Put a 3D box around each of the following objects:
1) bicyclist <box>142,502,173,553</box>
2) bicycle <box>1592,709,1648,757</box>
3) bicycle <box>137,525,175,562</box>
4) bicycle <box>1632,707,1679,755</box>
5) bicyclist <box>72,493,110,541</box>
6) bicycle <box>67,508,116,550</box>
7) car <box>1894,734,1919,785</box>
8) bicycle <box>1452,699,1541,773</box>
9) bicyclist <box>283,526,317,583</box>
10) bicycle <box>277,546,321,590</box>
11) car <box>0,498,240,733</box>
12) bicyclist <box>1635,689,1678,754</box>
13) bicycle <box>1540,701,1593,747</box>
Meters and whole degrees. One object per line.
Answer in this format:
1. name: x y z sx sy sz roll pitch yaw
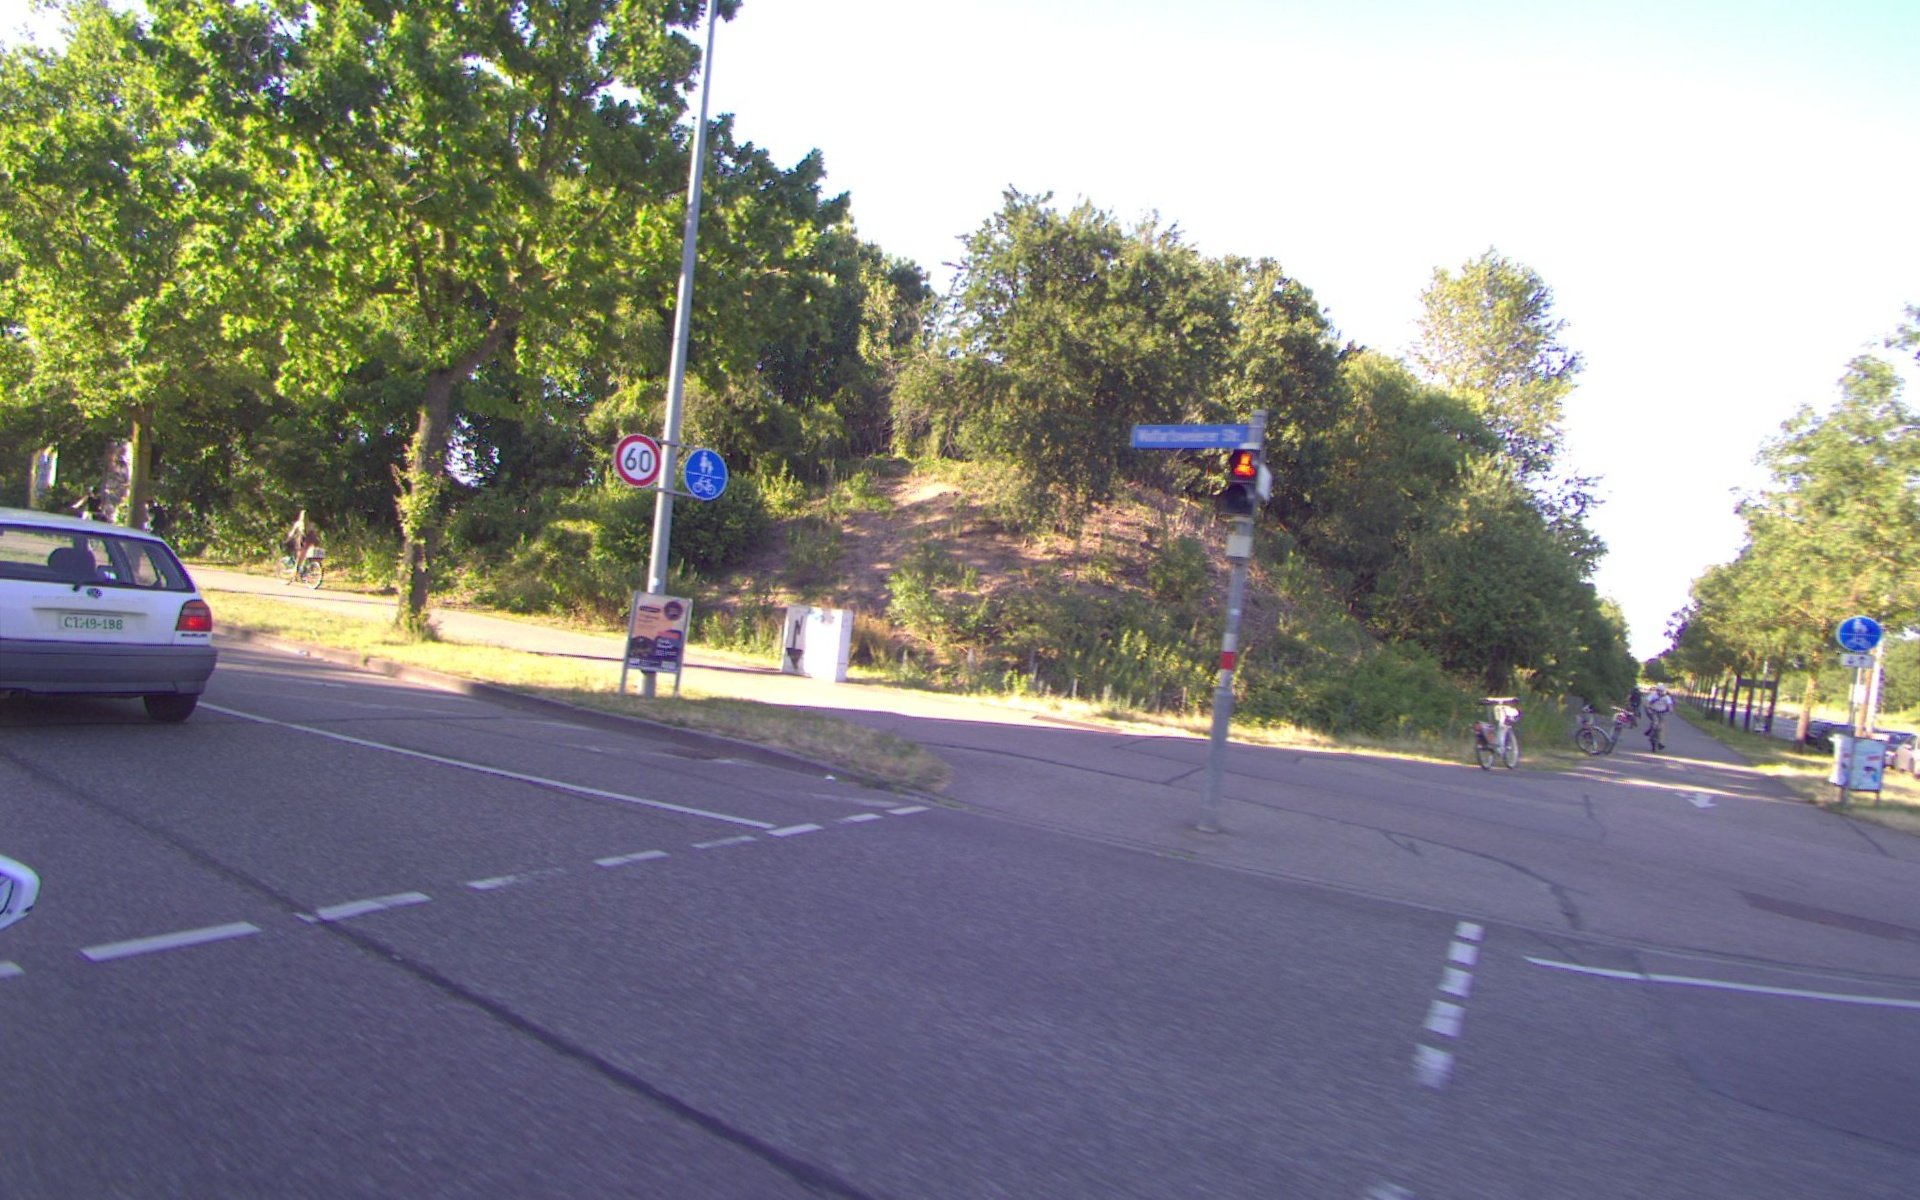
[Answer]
1. bicyclist: -22.039 -1.980 27.626 0.452 1.324 0.428 6 -1 32
2. bicycle: 15.352 3.106 23.387 1.788 0.992 0.631 9 -1 -45
3. bicycle: -22.064 -1.558 27.608 1.010 0.925 0.438 5 -1 32
4. bicycle: 18.746 3.515 27.153 0.808 1.125 2.017 6 -2 31
5. bicyclist: -26.286 -2.510 30.420 0.821 1.331 0.544 6 -1 31
6. bicycle: -26.199 -2.136 30.337 1.595 1.125 0.565 5 -1 32
7. car: 32.441 5.343 33.063 2.010 1.586 4.329 5 -3 37
8. bicycle: 8.351 2.104 15.635 1.656 1.004 0.571 6 3 -42
9. bicyclist: -15.282 -1.059 23.306 0.452 1.248 0.428 6 1 32
10. bicycle: -15.323 -0.750 23.311 1.010 0.926 0.437 5 2 32
11. car: -7.319 -0.018 7.515 3.994 1.430 1.582 5 -2 31
12. bicyclist: 18.784 3.272 27.150 0.780 1.613 0.858 6 -1 31
13. bicycle: 14.757 3.018 24.451 0.631 0.992 1.788 5 -2 45
